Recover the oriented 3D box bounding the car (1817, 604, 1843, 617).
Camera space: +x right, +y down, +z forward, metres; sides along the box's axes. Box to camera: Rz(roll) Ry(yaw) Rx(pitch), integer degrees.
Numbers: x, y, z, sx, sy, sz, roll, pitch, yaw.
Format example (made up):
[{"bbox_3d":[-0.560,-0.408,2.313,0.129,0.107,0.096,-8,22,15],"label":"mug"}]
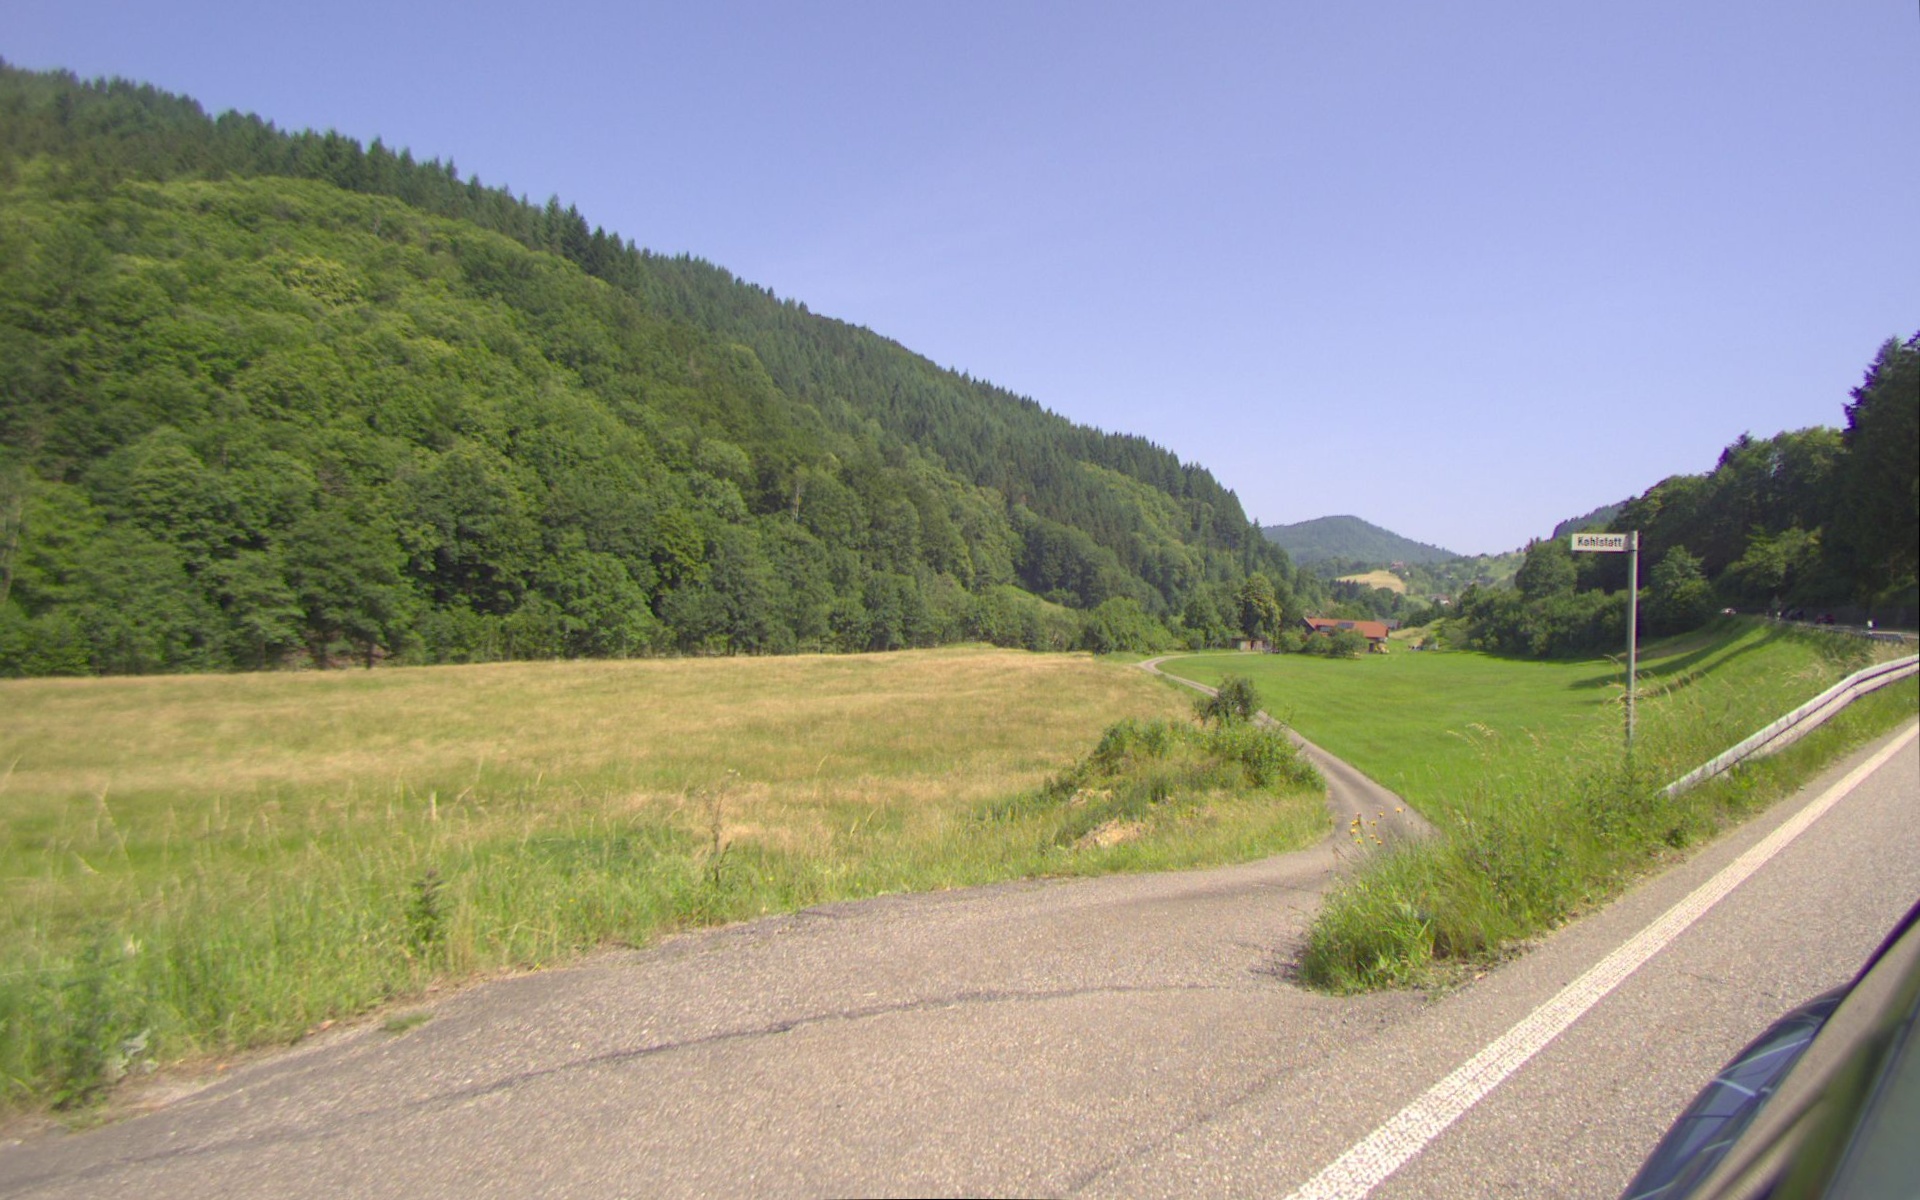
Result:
[{"bbox_3d":[107.908,1.289,125.565,1.756,1.414,4.100,0,1,31],"label":"car"}]
